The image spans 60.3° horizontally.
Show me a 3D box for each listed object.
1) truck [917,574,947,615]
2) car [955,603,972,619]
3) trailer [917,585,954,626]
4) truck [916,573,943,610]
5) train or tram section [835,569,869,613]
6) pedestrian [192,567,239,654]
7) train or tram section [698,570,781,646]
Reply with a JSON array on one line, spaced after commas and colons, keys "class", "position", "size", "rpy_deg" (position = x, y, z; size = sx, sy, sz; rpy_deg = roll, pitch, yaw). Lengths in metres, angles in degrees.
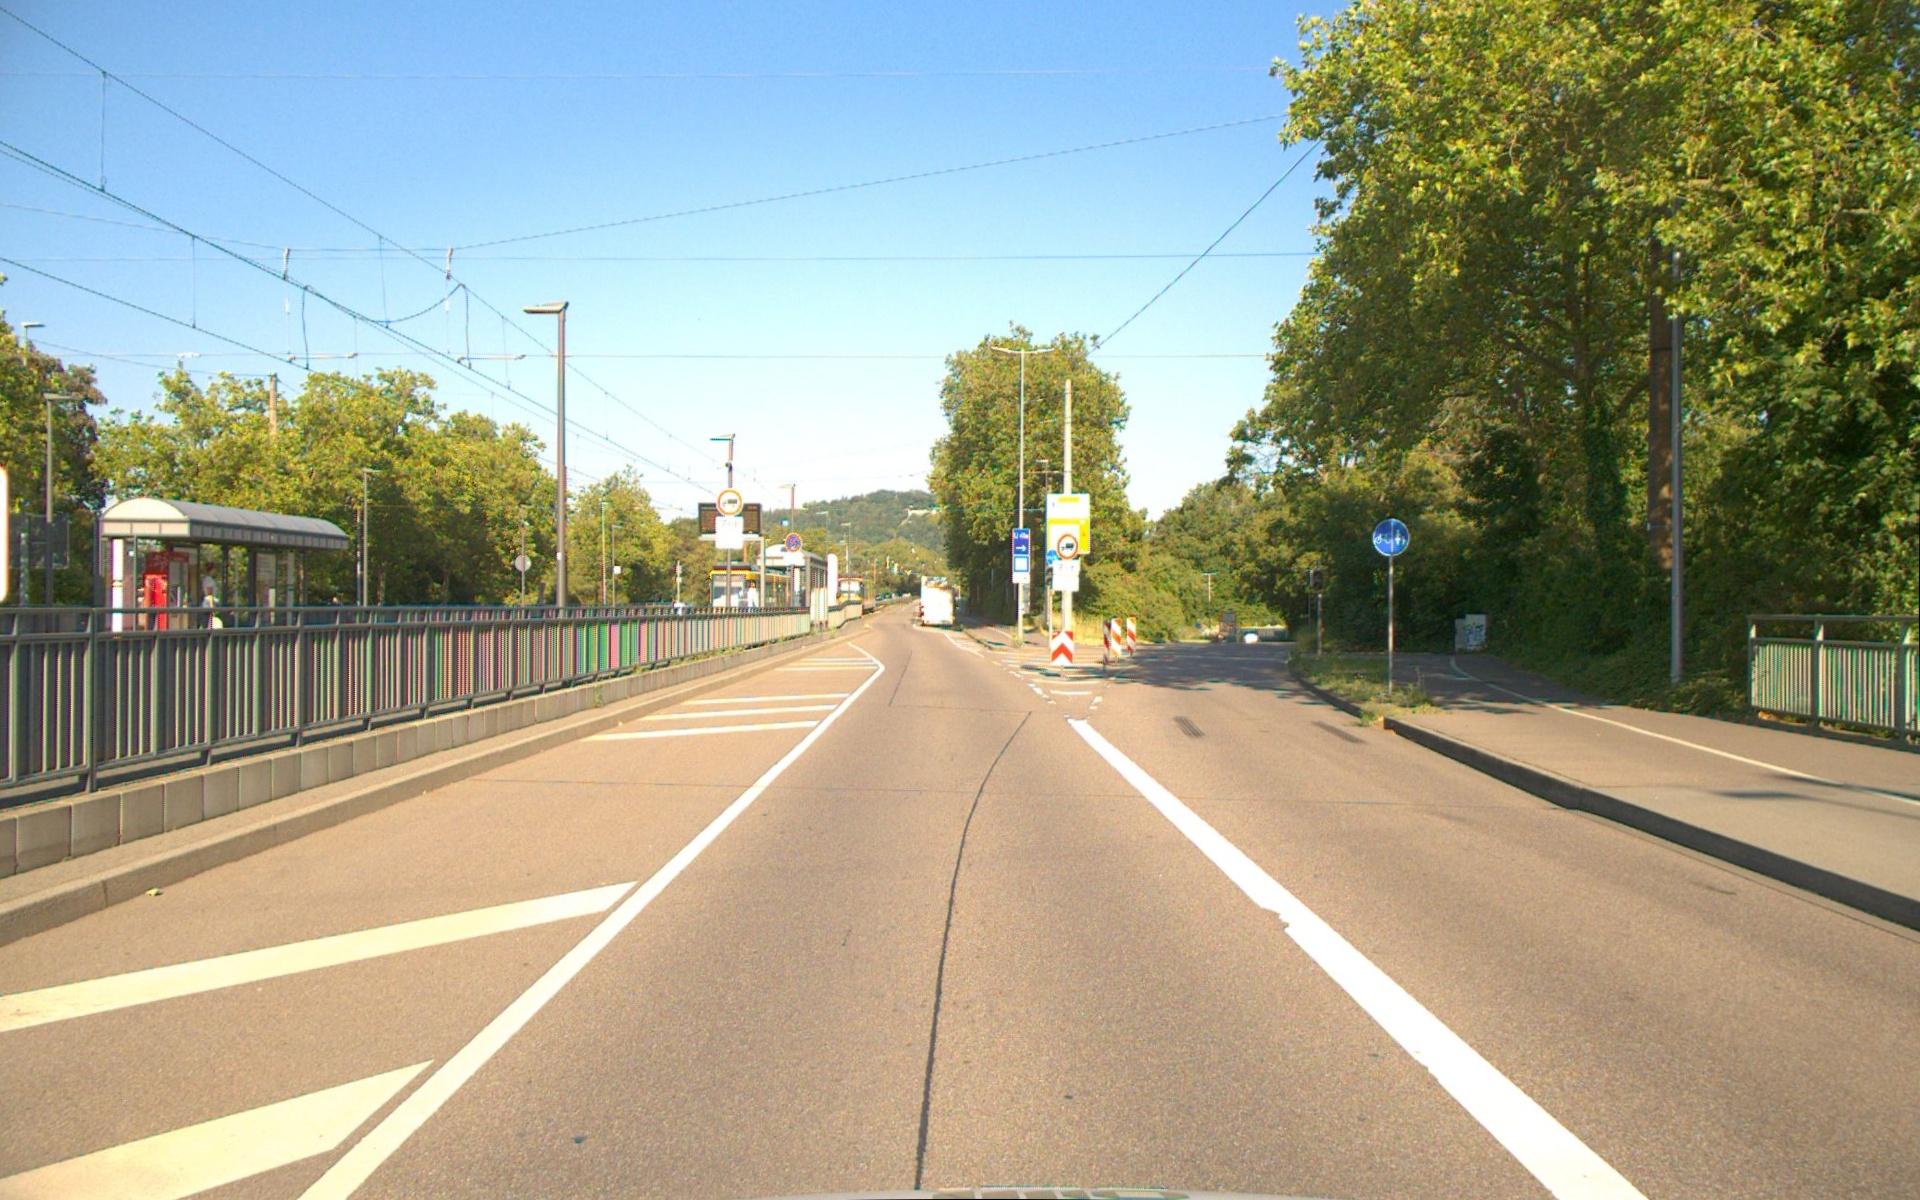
[{"class": "truck", "position": [-2.778, -0.536, 161.547], "size": [2.686, 3.849, 10.086], "rpy_deg": [2, 0, -2]}, {"class": "car", "position": [0.322, 1.063, 159.872], "size": [1.619, 1.462, 3.777], "rpy_deg": [0, 0, 0]}, {"class": "trailer", "position": [-1.650, 0.362, 113.618], "size": [2.204, 2.742, 5.948], "rpy_deg": [1, 0, 2]}, {"class": "truck", "position": [-3.333, -0.908, 179.341], "size": [2.662, 3.849, 9.758], "rpy_deg": [2, 0, -2]}, {"class": "train or tram section", "position": [-10.496, -0.867, 161.960], "size": [2.666, 4.162, 13.612], "rpy_deg": [-1, 0, -1]}, {"class": "pedestrian", "position": [-15.395, 0.218, 34.201], "size": [0.687, 1.787, 0.586], "rpy_deg": [0, -1, 35]}, {"class": "train or tram section", "position": [-12.784, 0.458, 97.343], "size": [2.770, 4.076, 15.873], "rpy_deg": [1, 0, 0]}]
